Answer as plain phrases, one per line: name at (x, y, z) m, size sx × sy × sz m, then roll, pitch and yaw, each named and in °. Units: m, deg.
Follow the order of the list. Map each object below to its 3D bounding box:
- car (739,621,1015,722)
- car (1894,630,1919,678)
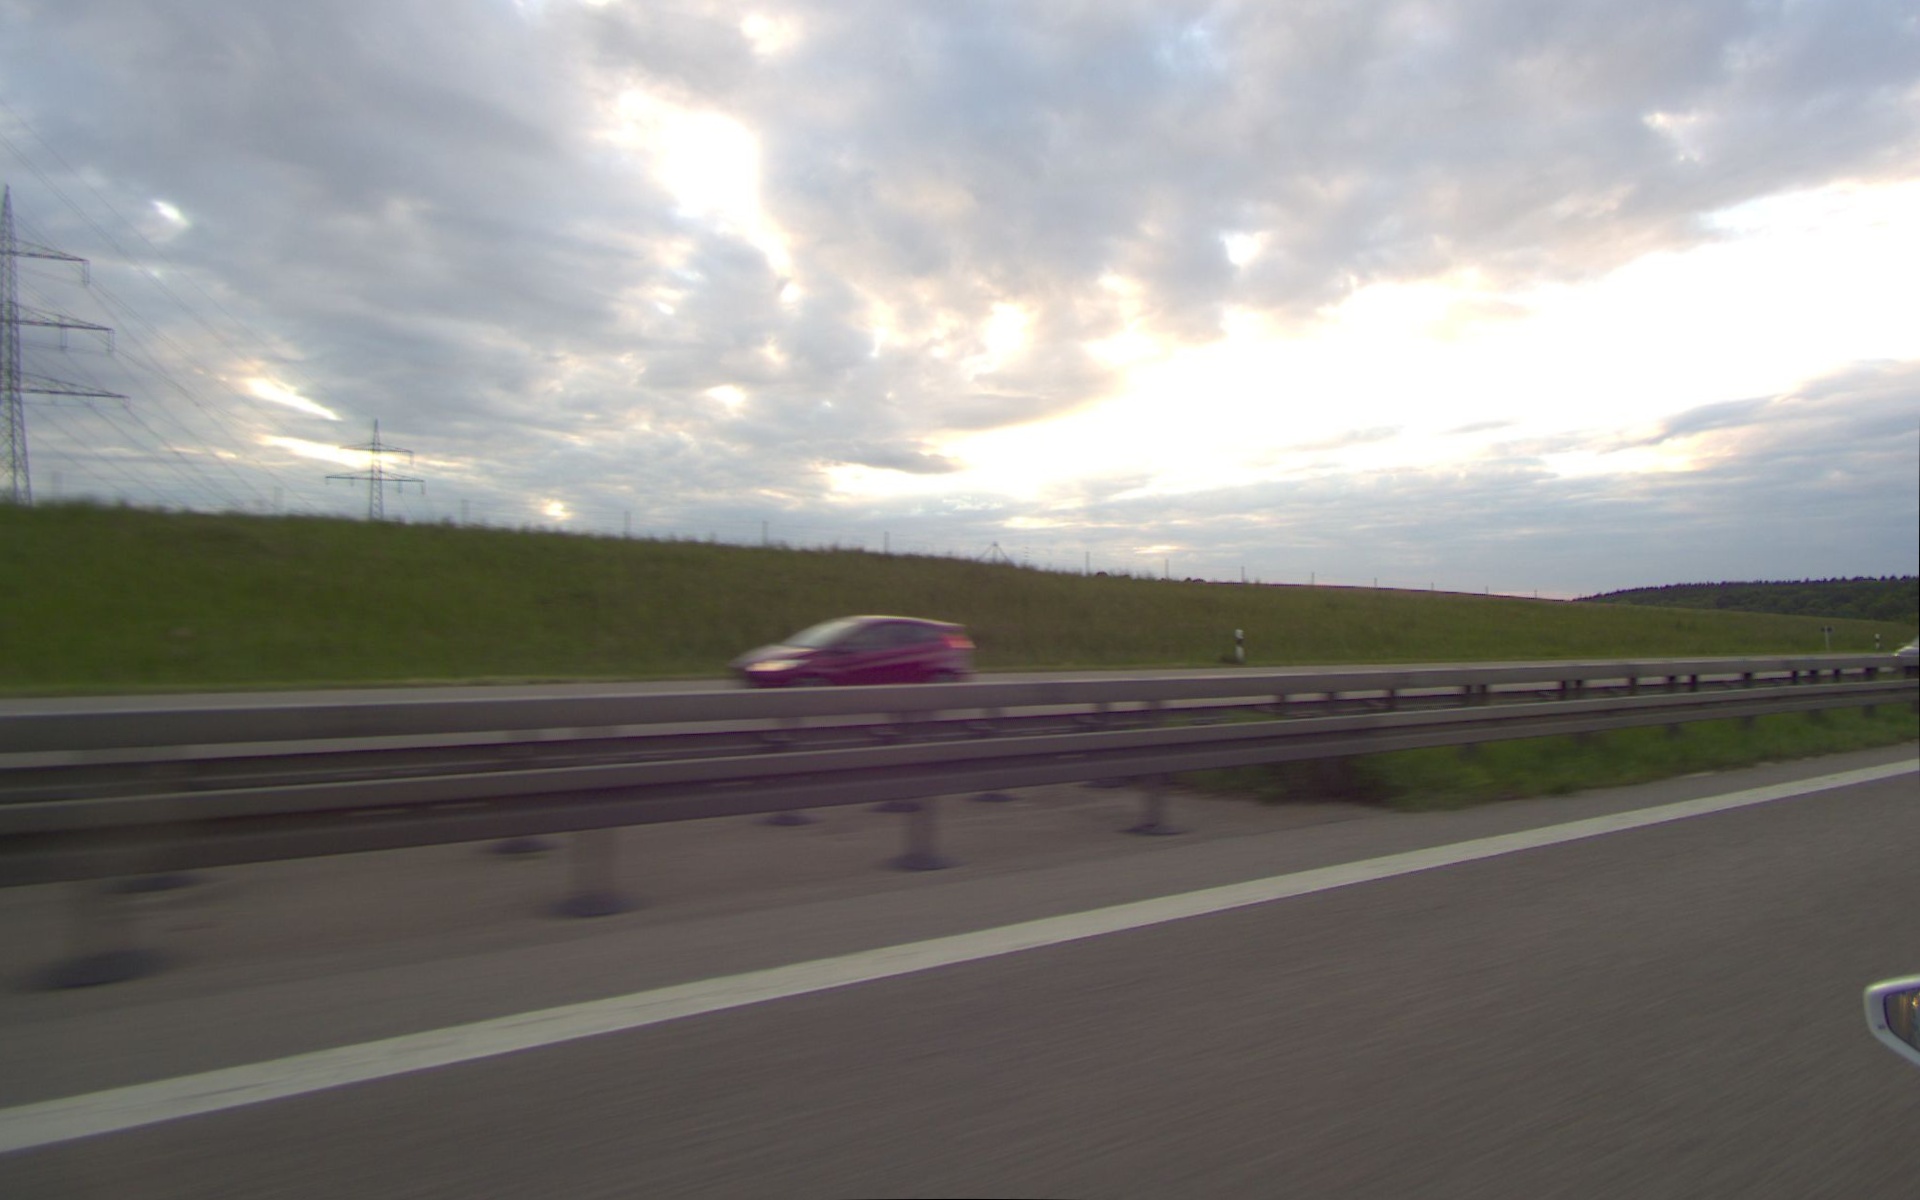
car at (-1.316, 1.114, 16.740) m, size 4.384 × 1.453 × 1.519 m, roll 1°, pitch 1°, yaw -32°
car at (32.275, 1.750, 32.429) m, size 5.061 × 1.476 × 1.730 m, roll 1°, pitch 1°, yaw -31°
